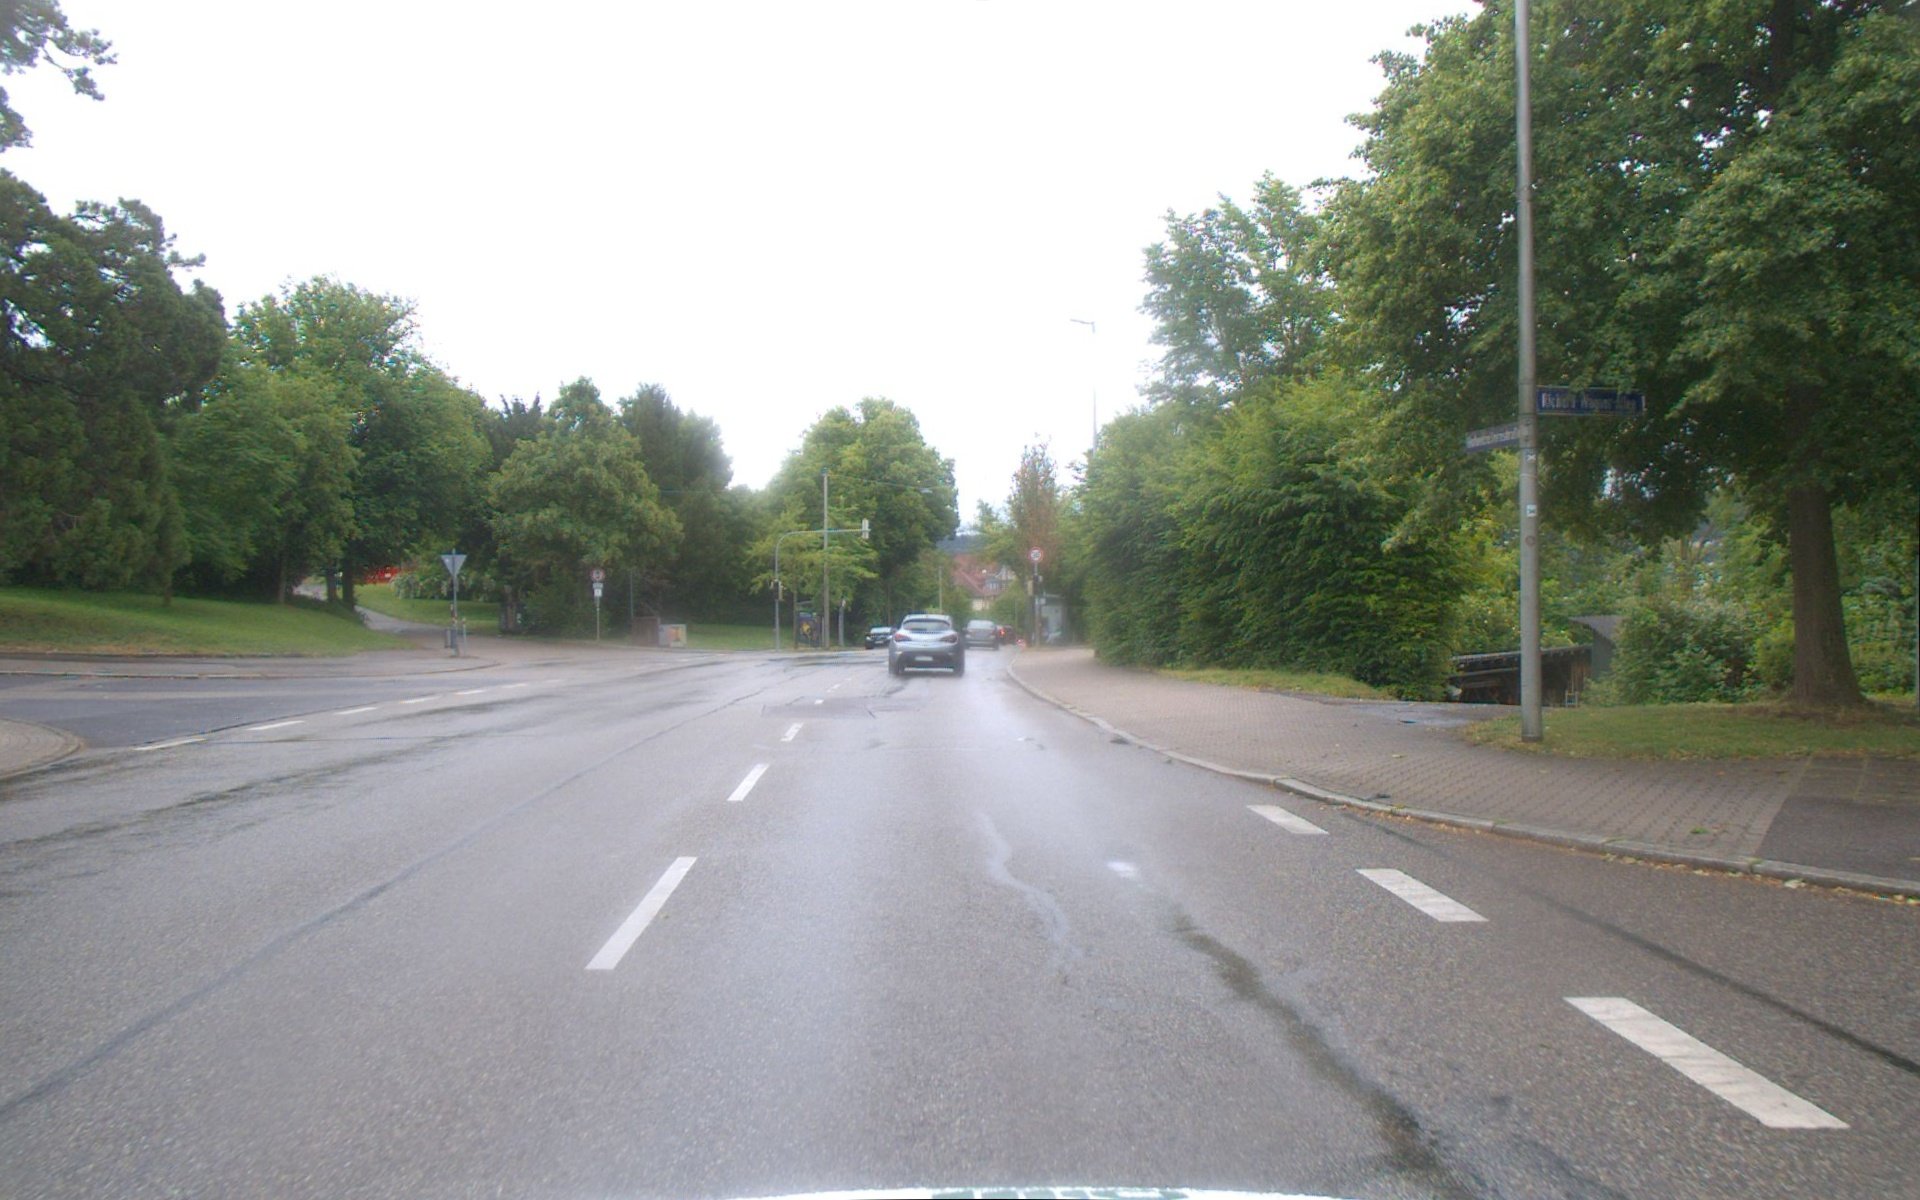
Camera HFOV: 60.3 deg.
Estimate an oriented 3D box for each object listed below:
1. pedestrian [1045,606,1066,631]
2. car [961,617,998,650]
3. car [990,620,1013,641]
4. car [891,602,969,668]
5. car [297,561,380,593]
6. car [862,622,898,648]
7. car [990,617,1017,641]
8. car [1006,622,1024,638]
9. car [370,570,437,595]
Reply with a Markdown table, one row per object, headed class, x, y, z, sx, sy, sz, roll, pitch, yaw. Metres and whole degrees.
| class | x | y | z | sx | sy | sz | roll | pitch | yaw |
| --- | --- | --- | --- | --- | --- | --- | --- | --- | --- |
| pedestrian | 5.382 | 1.017 | 92.810 | 1.050 | 1.379 | 0.919 | -2 | -1 | 10 |
| car | 0.969 | 1.623 | 80.862 | 1.686 | 1.489 | 4.000 | 2 | -1 | 1 |
| car | 3.250 | 2.376 | 129.757 | 1.686 | 1.489 | 4.000 | 2 | -1 | 1 |
| car | -0.701 | 0.824 | 41.130 | 1.718 | 1.489 | 4.001 | 2 | 0 | 2 |
| car | -31.151 | -1.133 | 82.982 | 3.839 | 1.512 | 1.924 | 0 | -1 | -20 |
| car | -4.626 | 2.024 | 96.082 | 1.626 | 1.329 | 4.085 | -2 | 1 | 3 |
| car | 2.926 | 1.949 | 111.619 | 1.686 | 1.489 | 4.000 | 2 | -1 | 1 |
| car | 5.431 | 2.975 | 163.221 | 1.686 | 1.489 | 4.000 | 2 | -1 | 1 |
| car | -34.397 | -1.064 | 102.261 | 3.839 | 1.512 | 1.924 | 0 | -1 | -20 |
